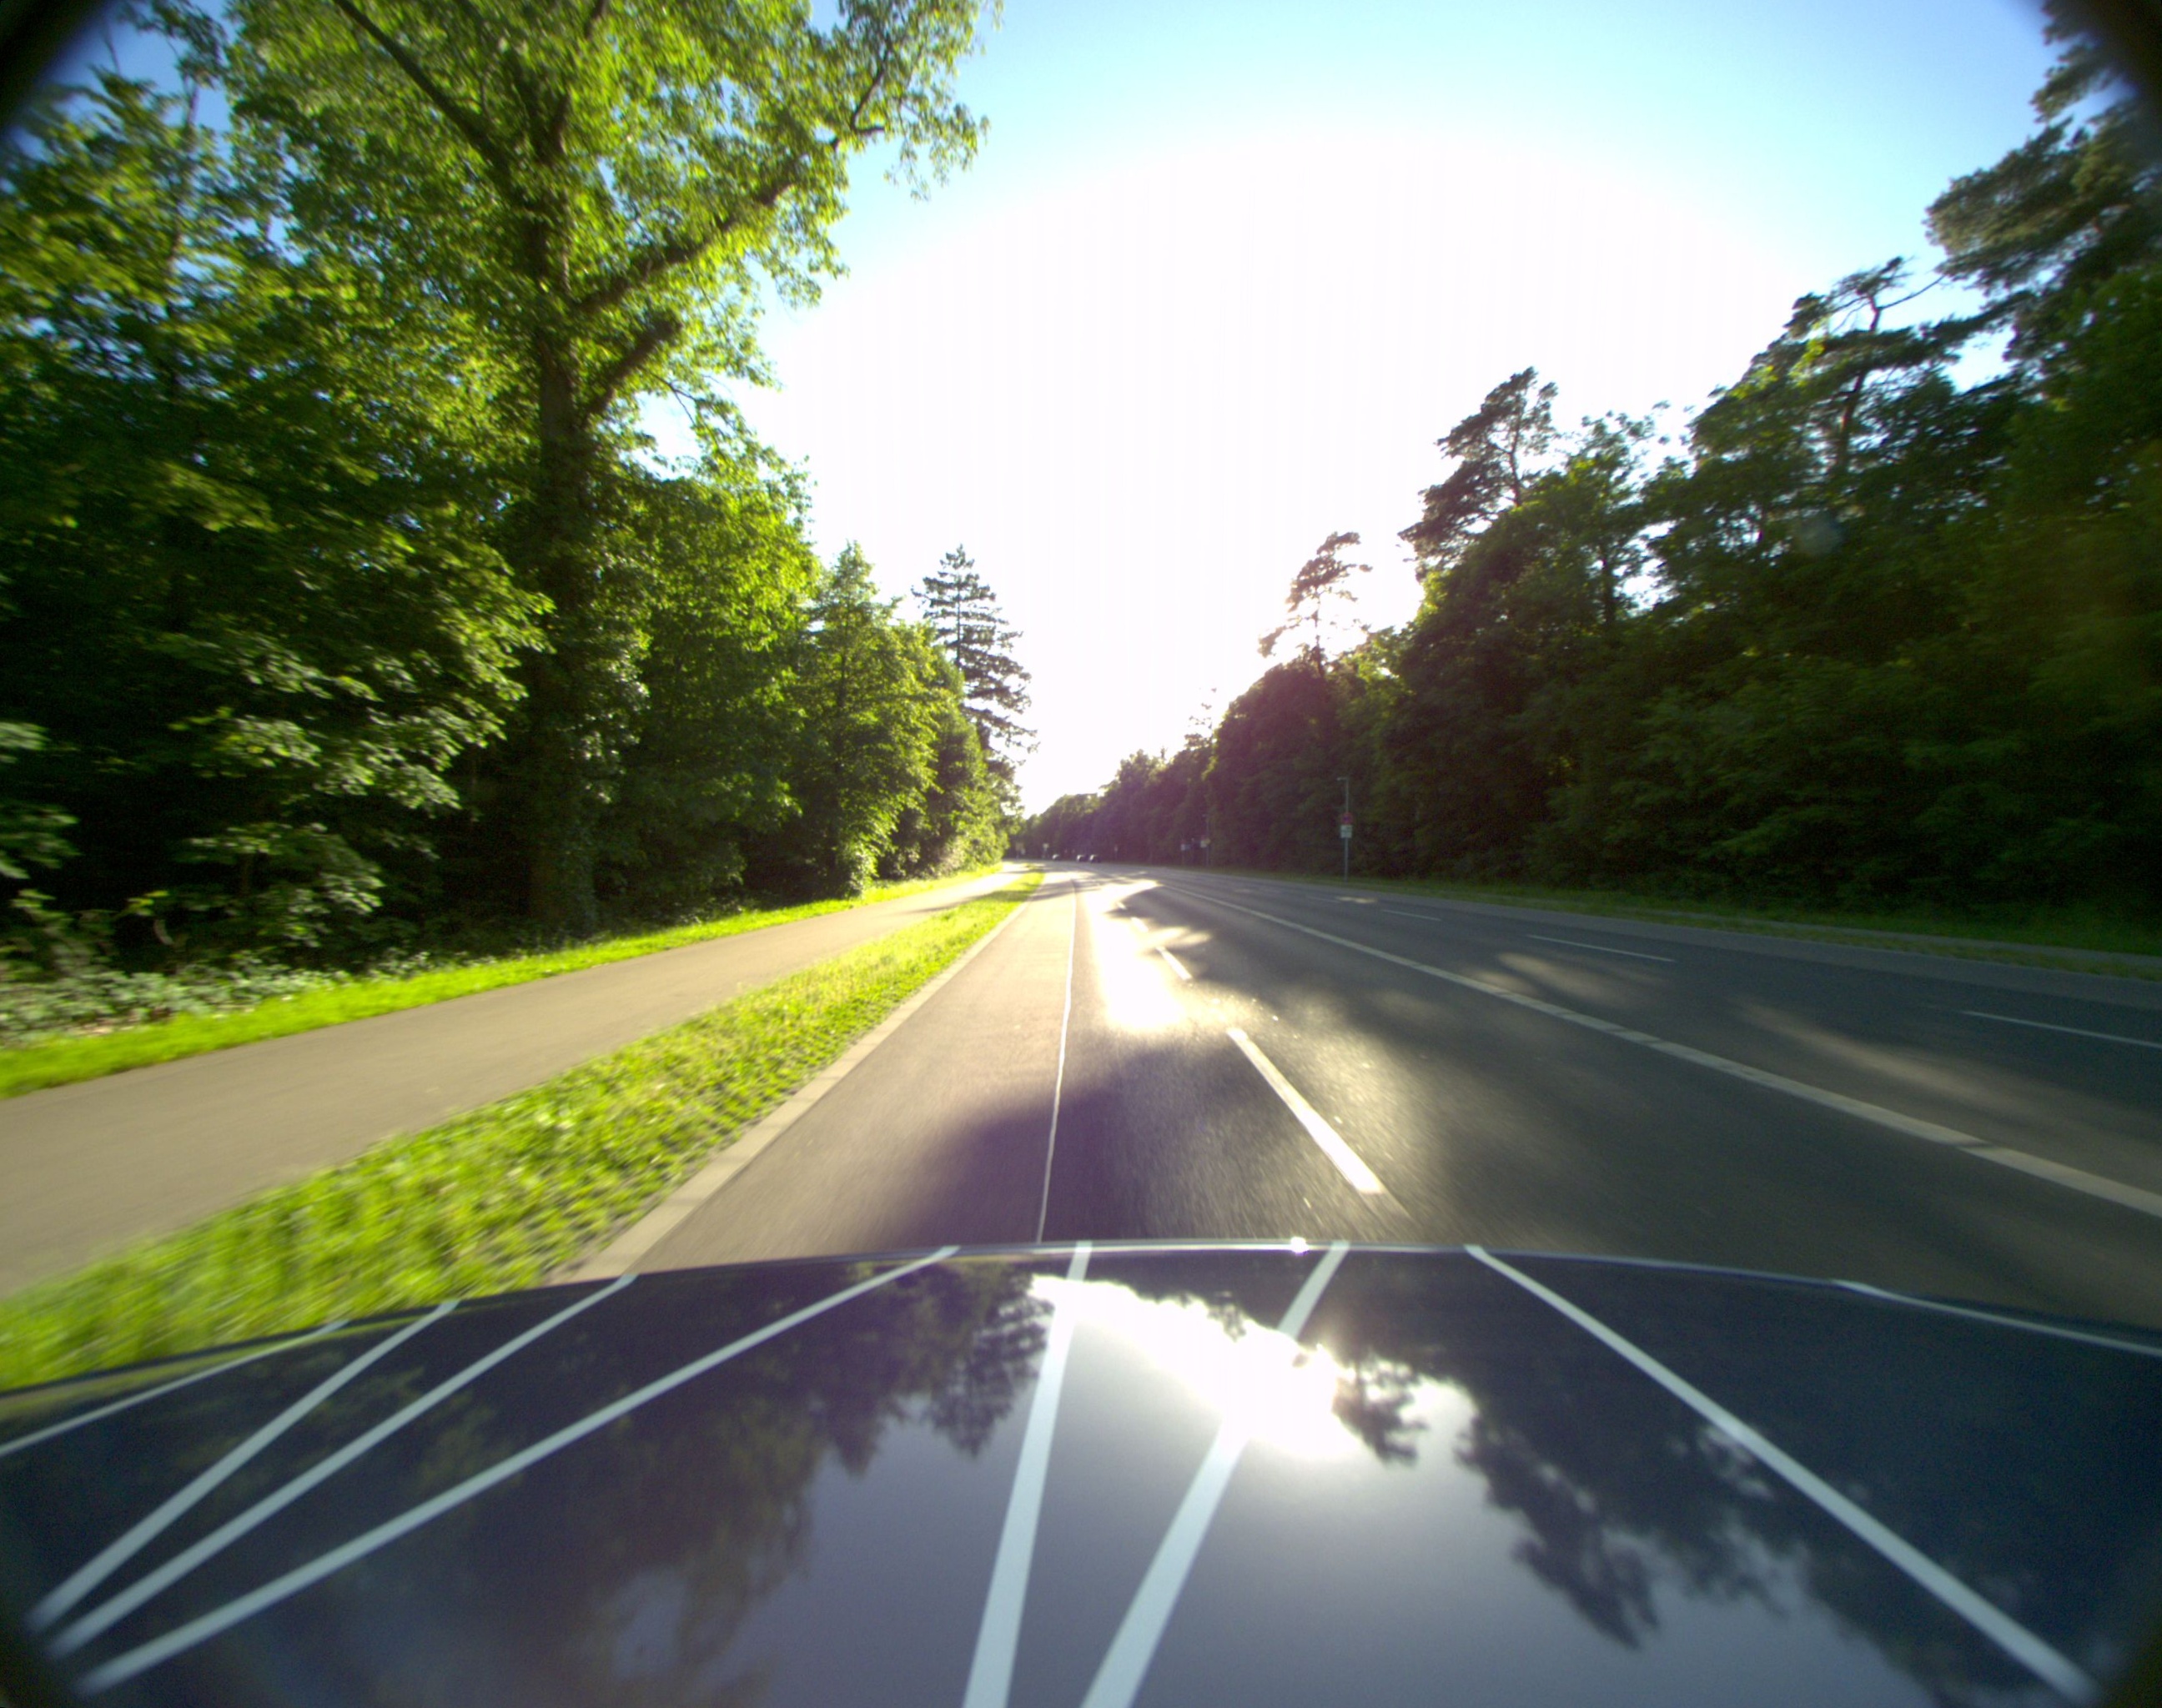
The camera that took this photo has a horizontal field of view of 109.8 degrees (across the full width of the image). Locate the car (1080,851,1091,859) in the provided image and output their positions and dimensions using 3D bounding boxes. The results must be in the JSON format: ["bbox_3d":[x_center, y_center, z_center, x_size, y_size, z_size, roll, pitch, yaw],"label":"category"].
[{"bbox_3d":[0.834,0.251,153.681,1.744,1.449,3.997,-3,1,-6],"label":"car"}]

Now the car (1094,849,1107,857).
[{"bbox_3d":[3.543,-0.143,137.541,1.662,1.472,4.169,-2,0,-8],"label":"car"}]

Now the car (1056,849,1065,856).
[{"bbox_3d":[-5.424,-0.381,197.184,1.902,1.601,4.445,-1,0,-8],"label":"car"}]
